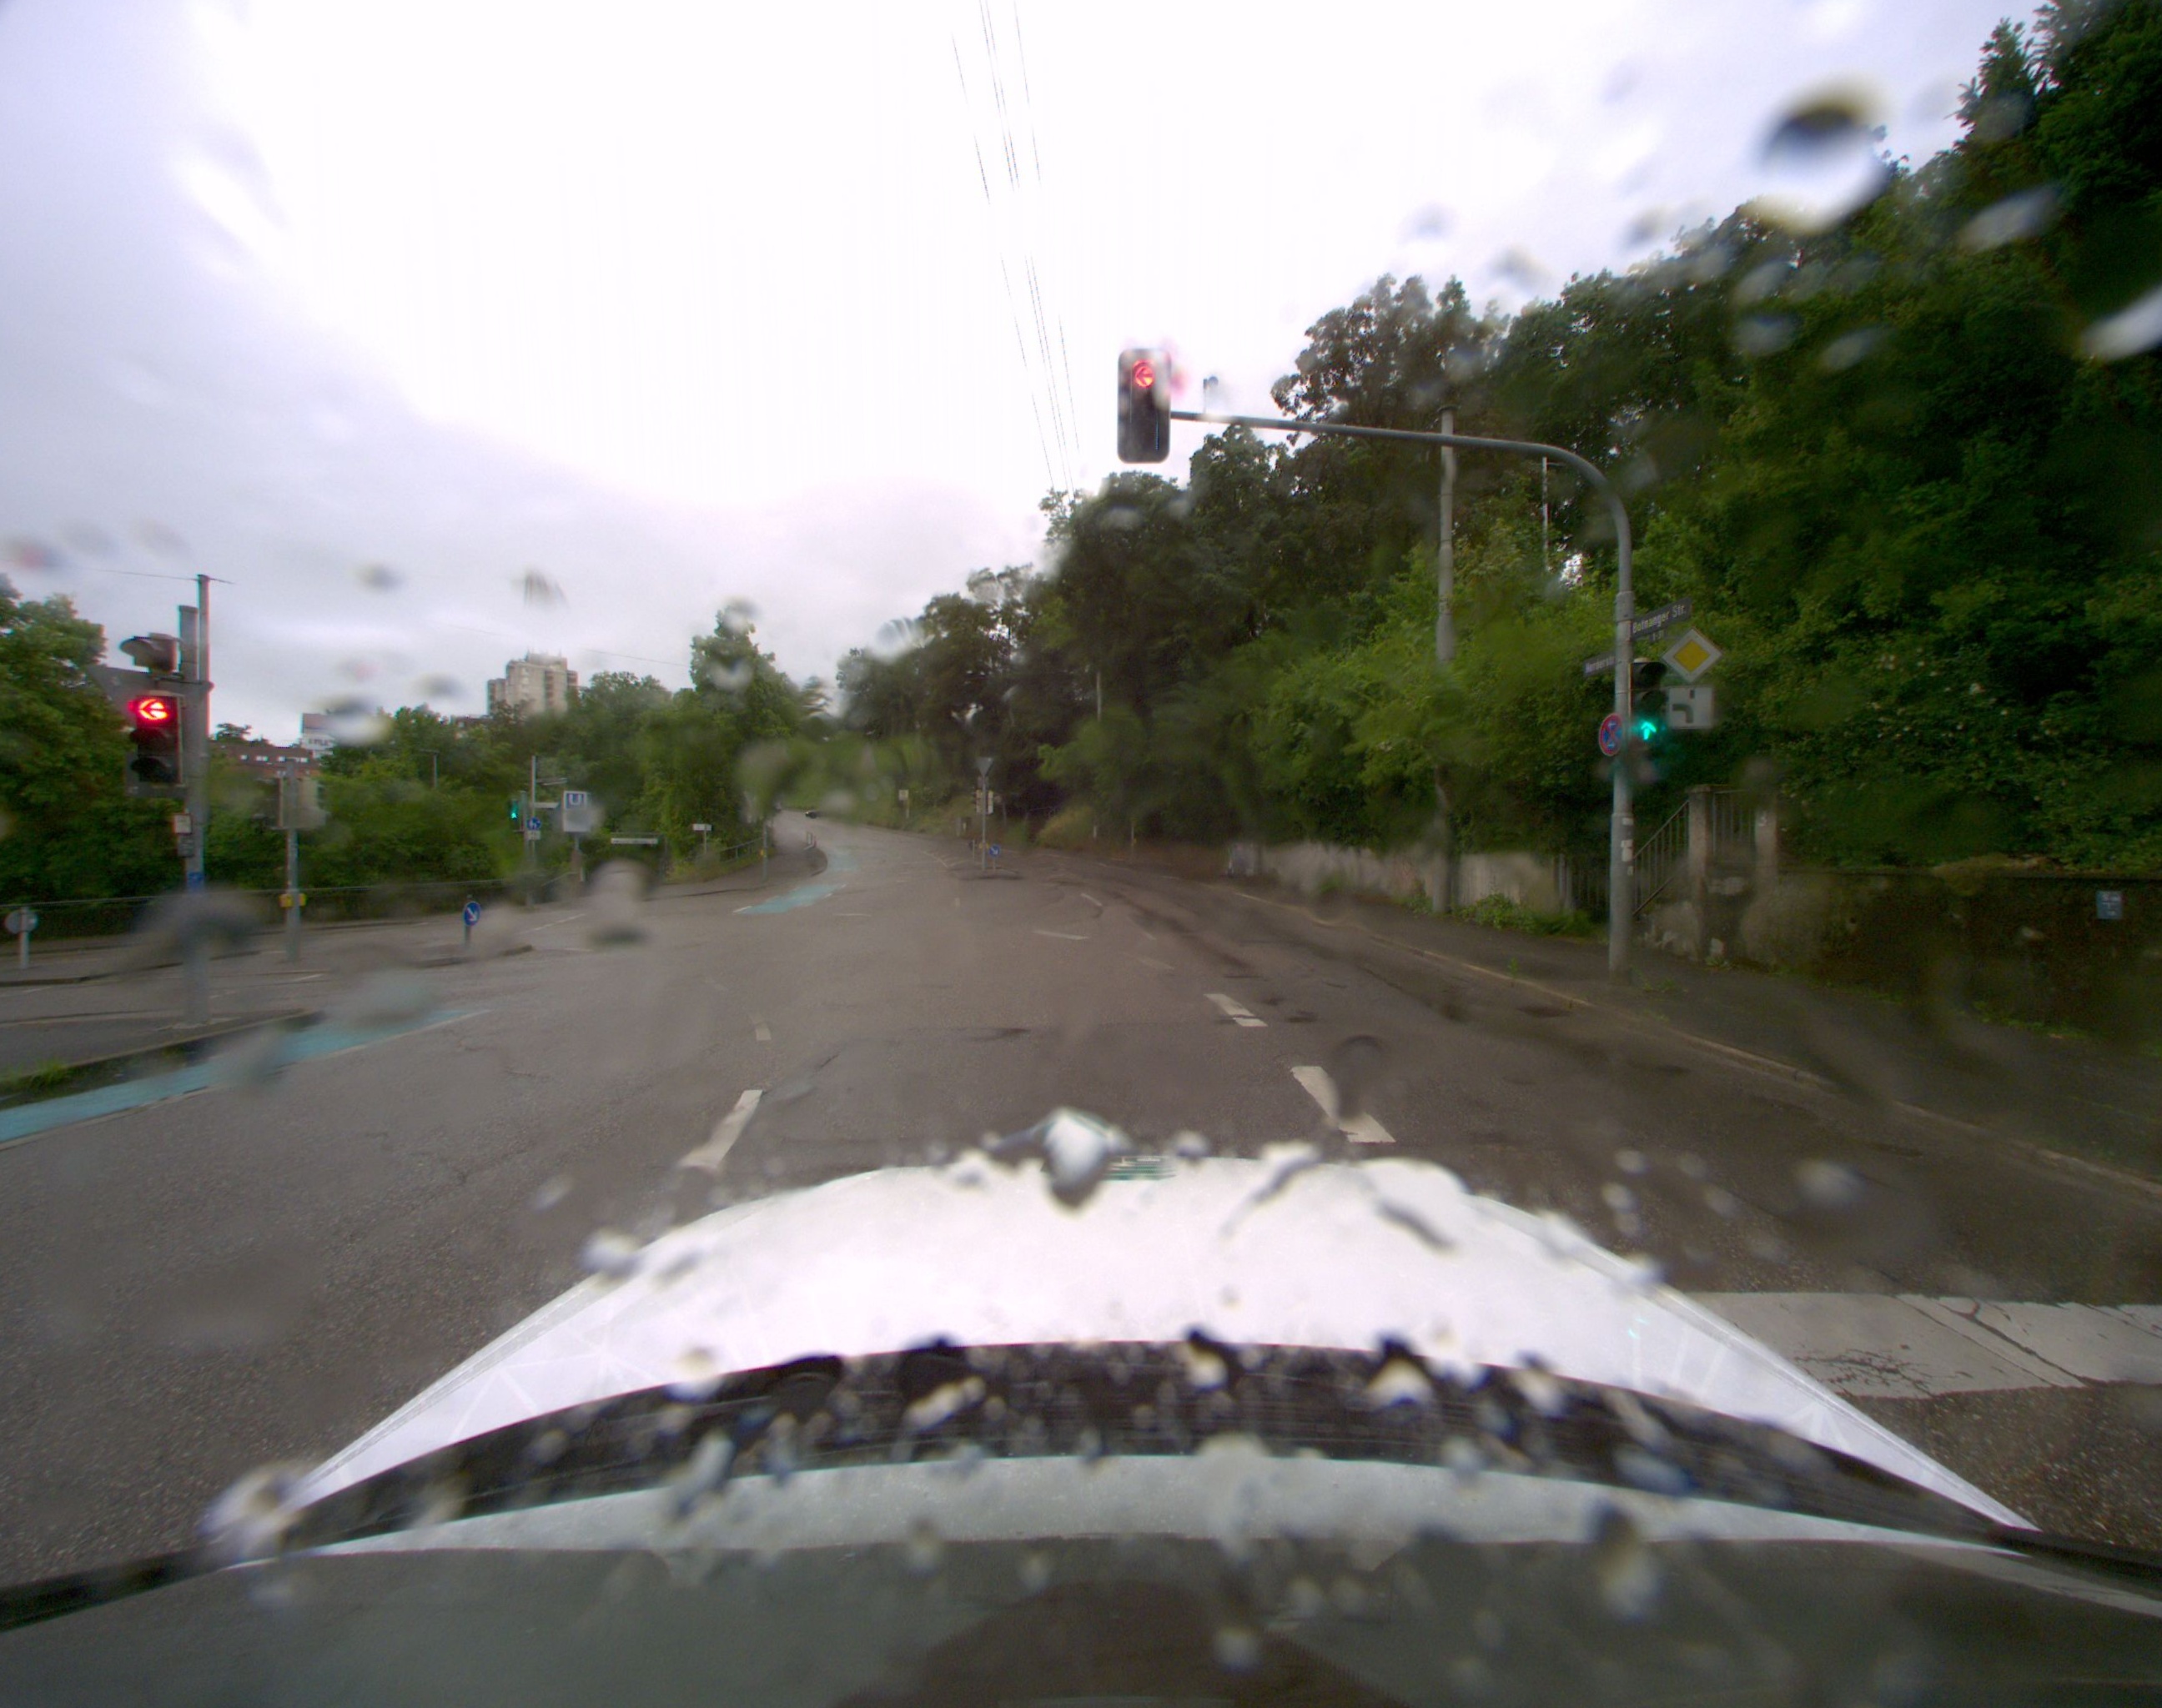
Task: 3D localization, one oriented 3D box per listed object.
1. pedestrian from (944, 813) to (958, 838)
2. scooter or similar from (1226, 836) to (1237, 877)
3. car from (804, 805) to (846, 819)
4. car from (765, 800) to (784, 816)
[{"bbox_3d":[-9.211,-2.027,57.574,0.882,1.736,0.861,0,-1,-15],"label":"pedestrian"},{"bbox_3d":[4.901,0.063,26.513,0.320,1.279,0.754,-1,2,10],"label":"scooter or similar"},{"bbox_3d":[-29.618,-4.836,94.234,4.392,1.511,1.956,0,3,-12],"label":"car"},{"bbox_3d":[-42.407,-6.369,112.849,2.070,2.006,4.789,-1,1,-16],"label":"car"}]
